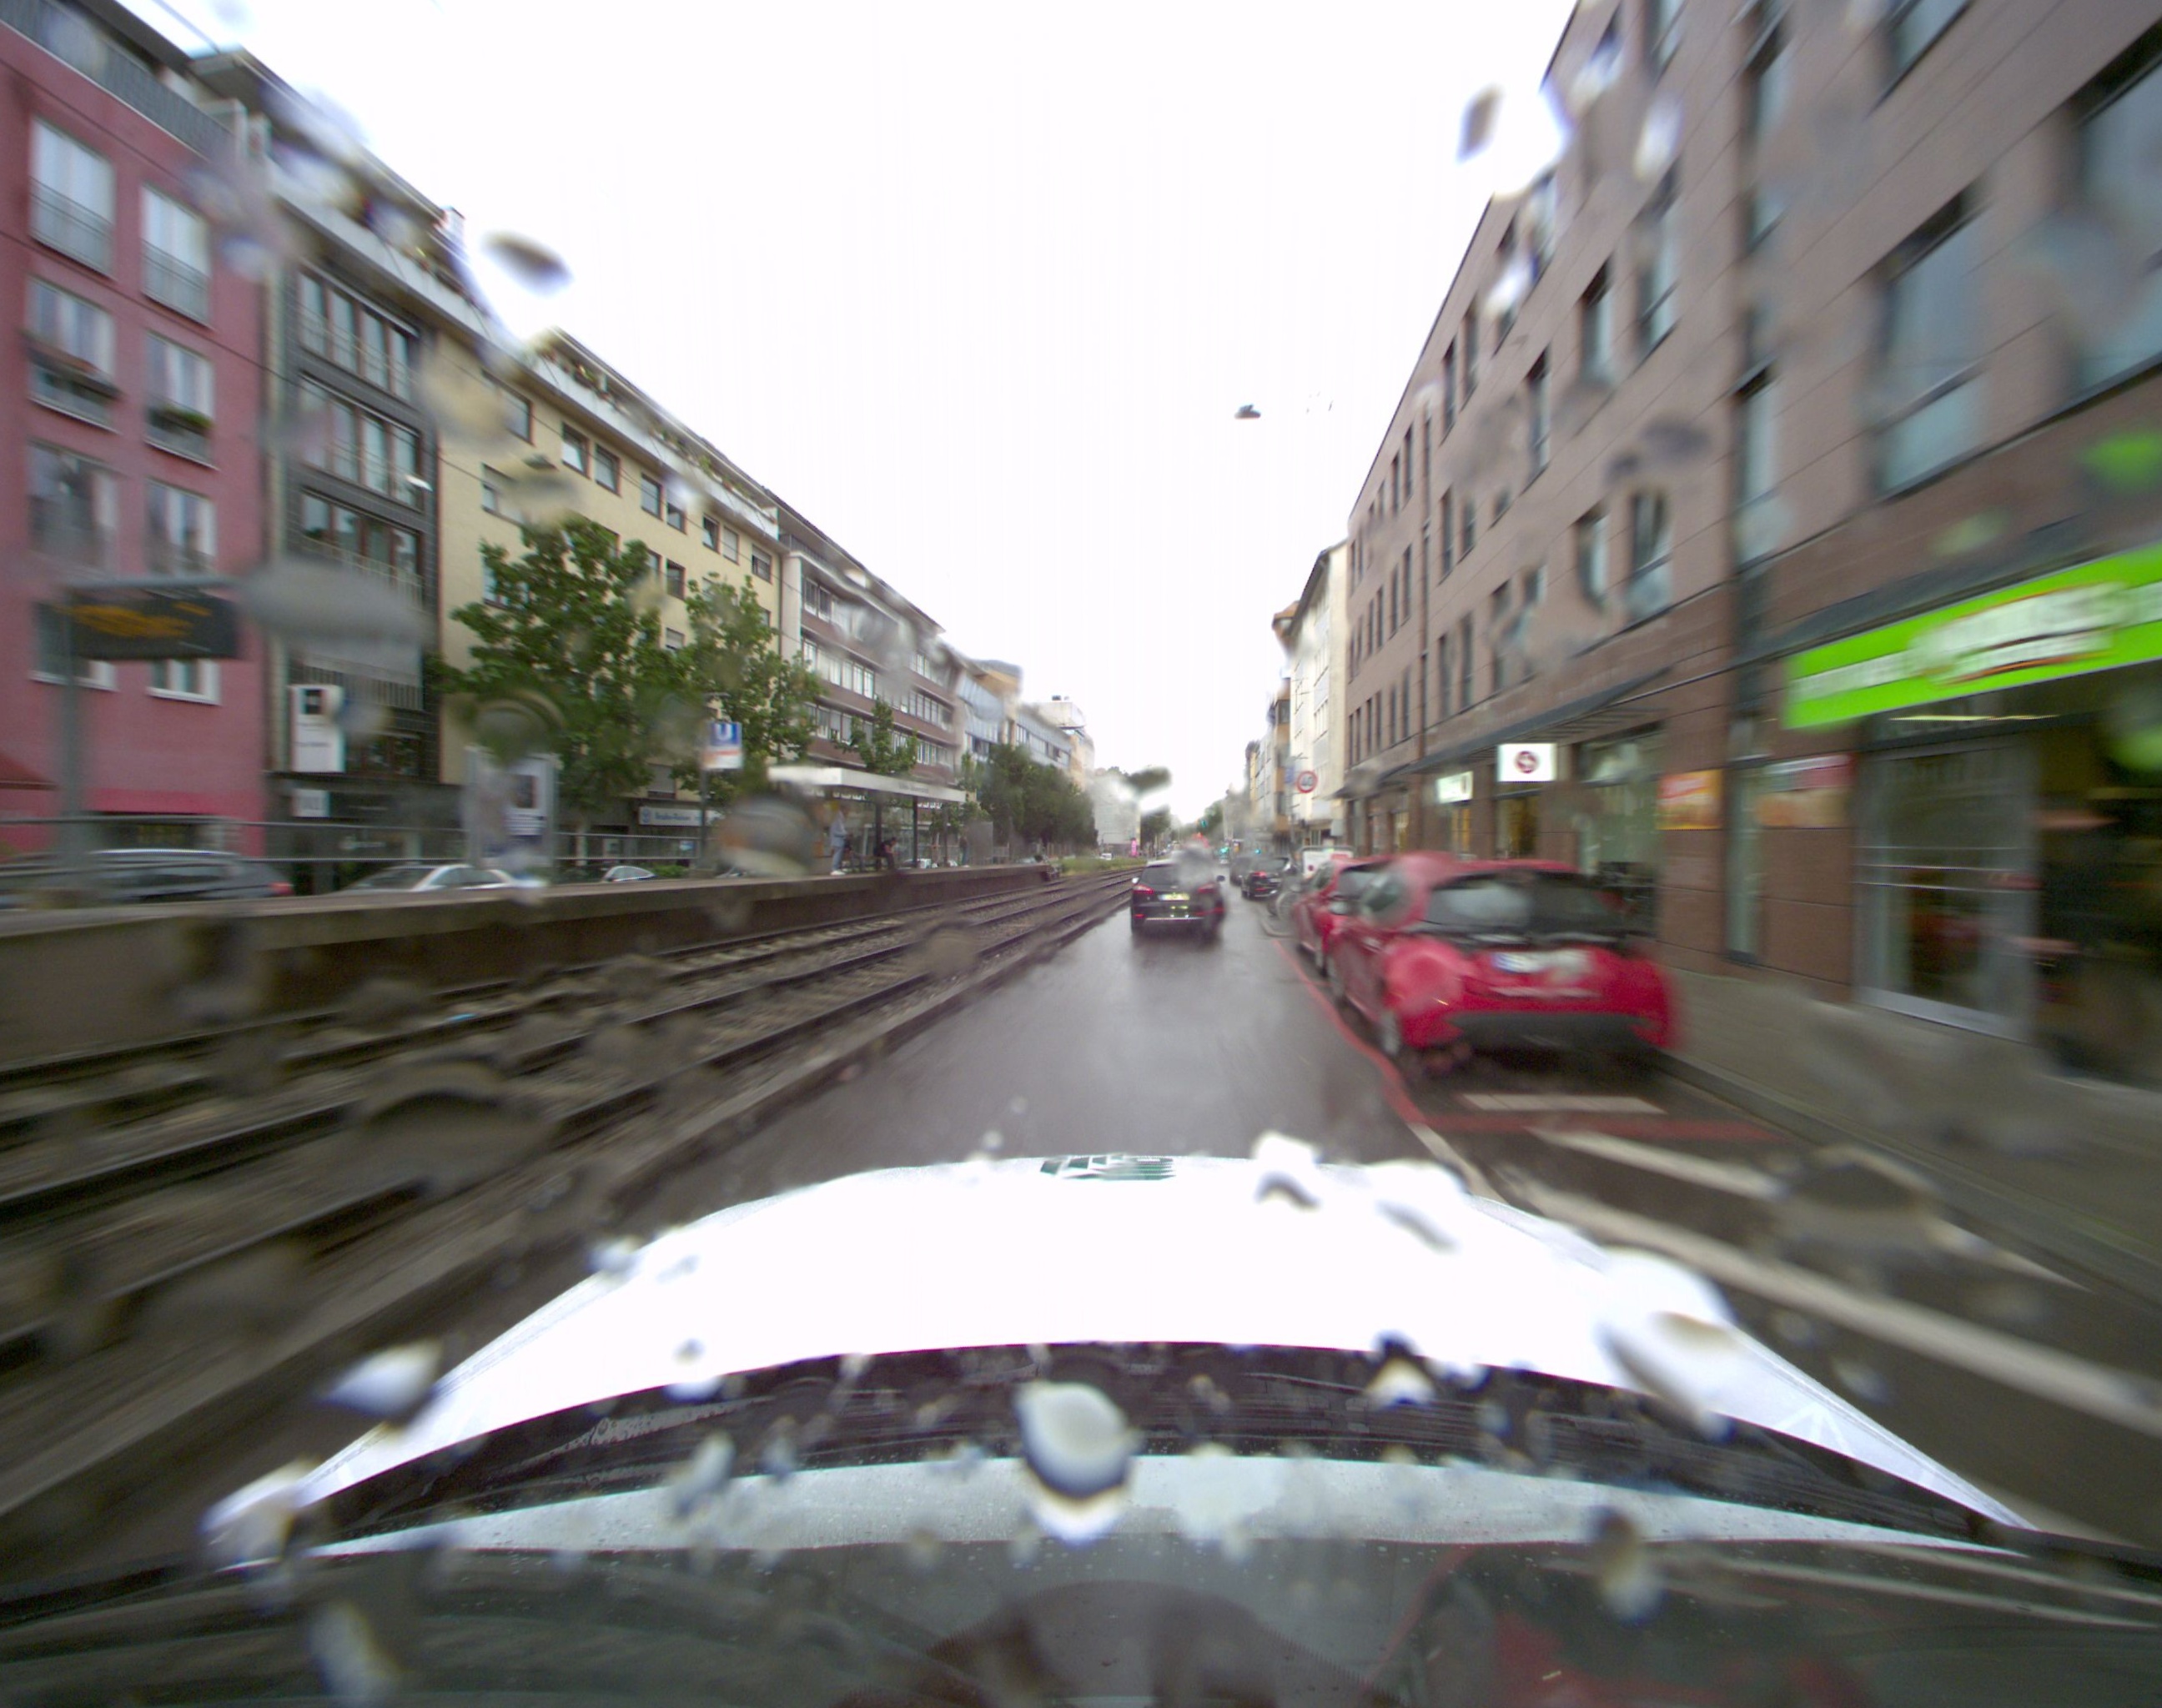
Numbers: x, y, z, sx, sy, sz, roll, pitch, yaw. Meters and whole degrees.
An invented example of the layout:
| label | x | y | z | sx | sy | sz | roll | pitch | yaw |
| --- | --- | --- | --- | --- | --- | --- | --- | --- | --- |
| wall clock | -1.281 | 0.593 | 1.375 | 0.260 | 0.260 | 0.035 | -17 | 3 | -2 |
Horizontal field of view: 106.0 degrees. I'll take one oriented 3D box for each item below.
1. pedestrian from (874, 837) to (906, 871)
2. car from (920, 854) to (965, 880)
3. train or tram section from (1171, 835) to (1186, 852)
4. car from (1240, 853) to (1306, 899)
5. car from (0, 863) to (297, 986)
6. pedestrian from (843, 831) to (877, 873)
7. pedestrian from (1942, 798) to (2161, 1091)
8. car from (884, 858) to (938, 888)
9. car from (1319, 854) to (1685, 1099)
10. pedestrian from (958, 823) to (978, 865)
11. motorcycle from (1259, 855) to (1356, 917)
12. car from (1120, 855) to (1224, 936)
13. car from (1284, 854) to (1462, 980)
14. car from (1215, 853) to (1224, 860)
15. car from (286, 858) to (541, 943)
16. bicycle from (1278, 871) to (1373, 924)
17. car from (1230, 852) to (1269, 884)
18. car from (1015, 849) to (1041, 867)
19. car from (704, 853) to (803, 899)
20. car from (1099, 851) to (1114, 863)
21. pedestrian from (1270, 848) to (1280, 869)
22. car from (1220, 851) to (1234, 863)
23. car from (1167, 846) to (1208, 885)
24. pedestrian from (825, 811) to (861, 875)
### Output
| label | x | y | z | sx | sy | sz | roll | pitch | yaw |
| --- | --- | --- | --- | --- | --- | --- | --- | --- | --- |
| pedestrian | -6.323 | -0.001 | 26.977 | 0.890 | 1.123 | 0.849 | 0 | 0 | -2 |
| car | -8.256 | 0.747 | 48.802 | 1.560 | 1.436 | 4.185 | 0 | 0 | 6 |
| train or tram section | 23.198 | -2.483 | 193.896 | 3.495 | 3.777 | 11.352 | 0 | 0 | 6 |
| car | 6.771 | 0.729 | 29.075 | 1.765 | 1.468 | 4.618 | 0 | 0 | 7 |
| car | -13.972 | 0.886 | 11.262 | 1.831 | 1.436 | 4.327 | 0 | 0 | 6 |
| pedestrian | -6.639 | -0.058 | 24.485 | 0.689 | 1.249 | 0.886 | 0 | 0 | 7 |
| pedestrian | 5.878 | 0.513 | 4.965 | 0.598 | 1.659 | 0.627 | 0 | 0 | 9 |
| car | -8.958 | 0.980 | 43.278 | 1.560 | 1.436 | 4.245 | 0 | 0 | 6 |
| car | 3.137 | 0.768 | 6.968 | 1.688 | 1.479 | 3.878 | -2 | 0 | 10 |
| pedestrian | -4.940 | -0.431 | 35.715 | 0.652 | 1.801 | 0.852 | 0 | 0 | 7 |
| motorcycle | 5.350 | 0.725 | 19.250 | 2.064 | 1.407 | 0.803 | 0 | 0 | 27 |
| car | 1.959 | 0.765 | 16.728 | 1.895 | 1.462 | 3.454 | 0 | 0 | 9 |
| car | 3.937 | 0.768 | 11.605 | 1.688 | 1.462 | 3.877 | -2 | 0 | 9 |
| car | 29.911 | 0.528 | 176.336 | 1.895 | 1.633 | 4.586 | 0 | 0 | 10 |
| car | -13.100 | 0.829 | 16.347 | 1.560 | 1.436 | 3.986 | 0 | 0 | 6 |
| bicycle | 4.905 | 0.874 | 16.390 | 1.776 | 1.031 | 0.463 | 0 | 0 | 8 |
| car | 9.001 | 0.697 | 43.756 | 1.797 | 1.631 | 5.182 | 0 | 0 | 9 |
| car | -4.546 | 0.328 | 70.723 | 1.560 | 1.436 | 4.185 | 0 | 0 | 6 |
| car | -11.090 | 0.696 | 27.871 | 1.560 | 1.436 | 3.742 | 0 | 0 | 6 |
| car | 4.010 | 0.485 | 126.506 | 1.897 | 1.864 | 4.581 | 0 | 0 | 6 |
| pedestrian | 15.398 | 0.330 | 64.787 | 0.691 | 1.652 | 0.968 | 0 | 0 | 8 |
| car | 20.564 | 0.478 | 114.411 | 1.895 | 1.633 | 4.586 | 0 | 0 | 10 |
| car | 5.521 | 0.550 | 41.775 | 1.895 | 1.864 | 4.586 | 0 | 0 | 10 |
| pedestrian | -6.527 | -0.303 | 22.343 | 0.652 | 1.711 | 0.852 | 0 | 0 | 7 |
